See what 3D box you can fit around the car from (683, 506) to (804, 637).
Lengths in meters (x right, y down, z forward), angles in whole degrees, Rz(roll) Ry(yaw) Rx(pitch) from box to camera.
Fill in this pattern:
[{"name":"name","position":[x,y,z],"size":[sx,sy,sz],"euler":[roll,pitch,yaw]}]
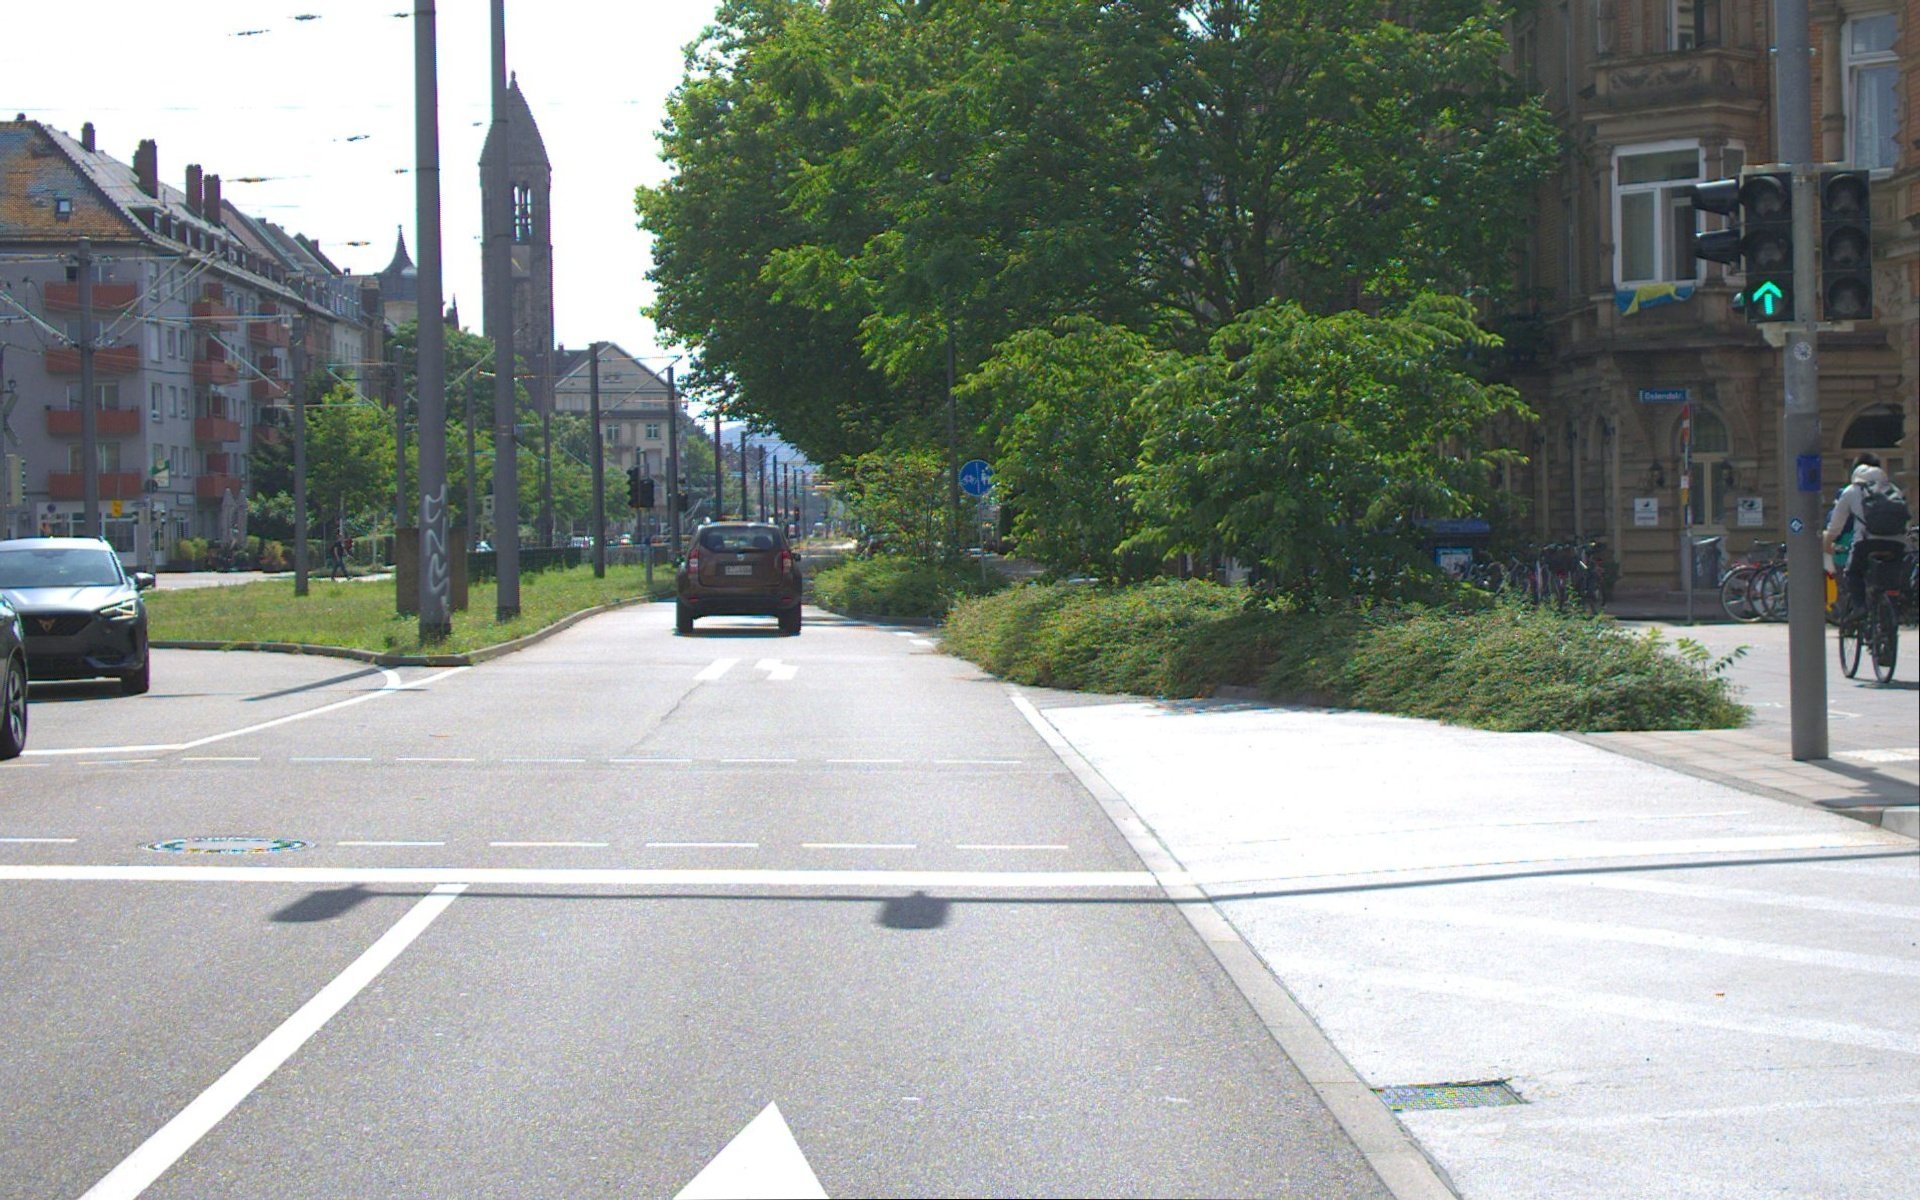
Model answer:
[{"name":"car","position":[-3.179,-0.457,50.703],"size":[1.688,1.705,3.610],"euler":[-1,4,-3]}]

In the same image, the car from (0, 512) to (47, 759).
[{"name":"car","position":[-6.871,0.255,20.650],"size":[1.817,1.546,4.561],"euler":[-1,1,-4]}]

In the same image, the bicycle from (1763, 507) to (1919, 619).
[{"name":"bicycle","position":[10.276,-0.435,39.974],"size":[1.769,1.263,0.466],"euler":[-1,3,2]}]

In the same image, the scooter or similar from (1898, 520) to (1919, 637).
[{"name":"scooter or similar","position":[10.602,-0.264,35.270],"size":[1.769,1.181,0.466],"euler":[-3,1,-1]}]

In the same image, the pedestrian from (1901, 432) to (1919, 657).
[{"name":"pedestrian","position":[8.940,-0.502,30.833],"size":[0.768,2.007,0.715],"euler":[-1,1,0]}]

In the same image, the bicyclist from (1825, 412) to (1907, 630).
[{"name":"bicyclist","position":[7.248,-0.636,27.522],"size":[0.427,1.712,0.828],"euler":[-1,2,0]}]

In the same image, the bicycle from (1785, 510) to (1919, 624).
[{"name":"bicycle","position":[10.344,-0.382,39.204],"size":[1.769,1.263,0.466],"euler":[-1,3,2]}]

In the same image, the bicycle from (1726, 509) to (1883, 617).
[{"name":"bicycle","position":[10.164,-0.448,41.400],"size":[1.769,1.263,0.466],"euler":[-1,3,2]}]

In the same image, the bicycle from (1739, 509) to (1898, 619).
[{"name":"bicycle","position":[10.180,-0.432,40.776],"size":[1.769,1.263,0.466],"euler":[-1,3,2]}]

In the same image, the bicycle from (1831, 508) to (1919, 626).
[{"name":"bicycle","position":[10.552,-0.371,37.946],"size":[1.769,1.263,0.466],"euler":[-1,3,2]}]

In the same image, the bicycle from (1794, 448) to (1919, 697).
[{"name":"bicycle","position":[7.217,-0.231,27.458],"size":[0.683,1.919,1.590],"euler":[-1,1,0]}]

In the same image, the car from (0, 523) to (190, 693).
[{"name":"car","position":[-8.780,0.033,33.796],"size":[1.799,1.546,4.296],"euler":[-1,1,-5]}]

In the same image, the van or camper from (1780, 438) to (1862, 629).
[{"name":"van or camper","position":[9.161,-0.708,36.598],"size":[0.666,2.007,0.638],"euler":[-1,1,-1]}]

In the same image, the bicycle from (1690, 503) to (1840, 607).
[{"name":"bicycle","position":[10.083,-0.565,43.075],"size":[1.769,1.263,0.466],"euler":[-1,3,2]}]

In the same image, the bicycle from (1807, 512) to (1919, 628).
[{"name":"bicycle","position":[10.426,-0.339,38.529],"size":[1.746,1.263,0.466],"euler":[-1,3,2]}]

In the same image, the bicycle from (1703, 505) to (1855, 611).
[{"name":"bicycle","position":[10.098,-0.524,42.415],"size":[1.769,1.263,0.466],"euler":[-1,3,2]}]
